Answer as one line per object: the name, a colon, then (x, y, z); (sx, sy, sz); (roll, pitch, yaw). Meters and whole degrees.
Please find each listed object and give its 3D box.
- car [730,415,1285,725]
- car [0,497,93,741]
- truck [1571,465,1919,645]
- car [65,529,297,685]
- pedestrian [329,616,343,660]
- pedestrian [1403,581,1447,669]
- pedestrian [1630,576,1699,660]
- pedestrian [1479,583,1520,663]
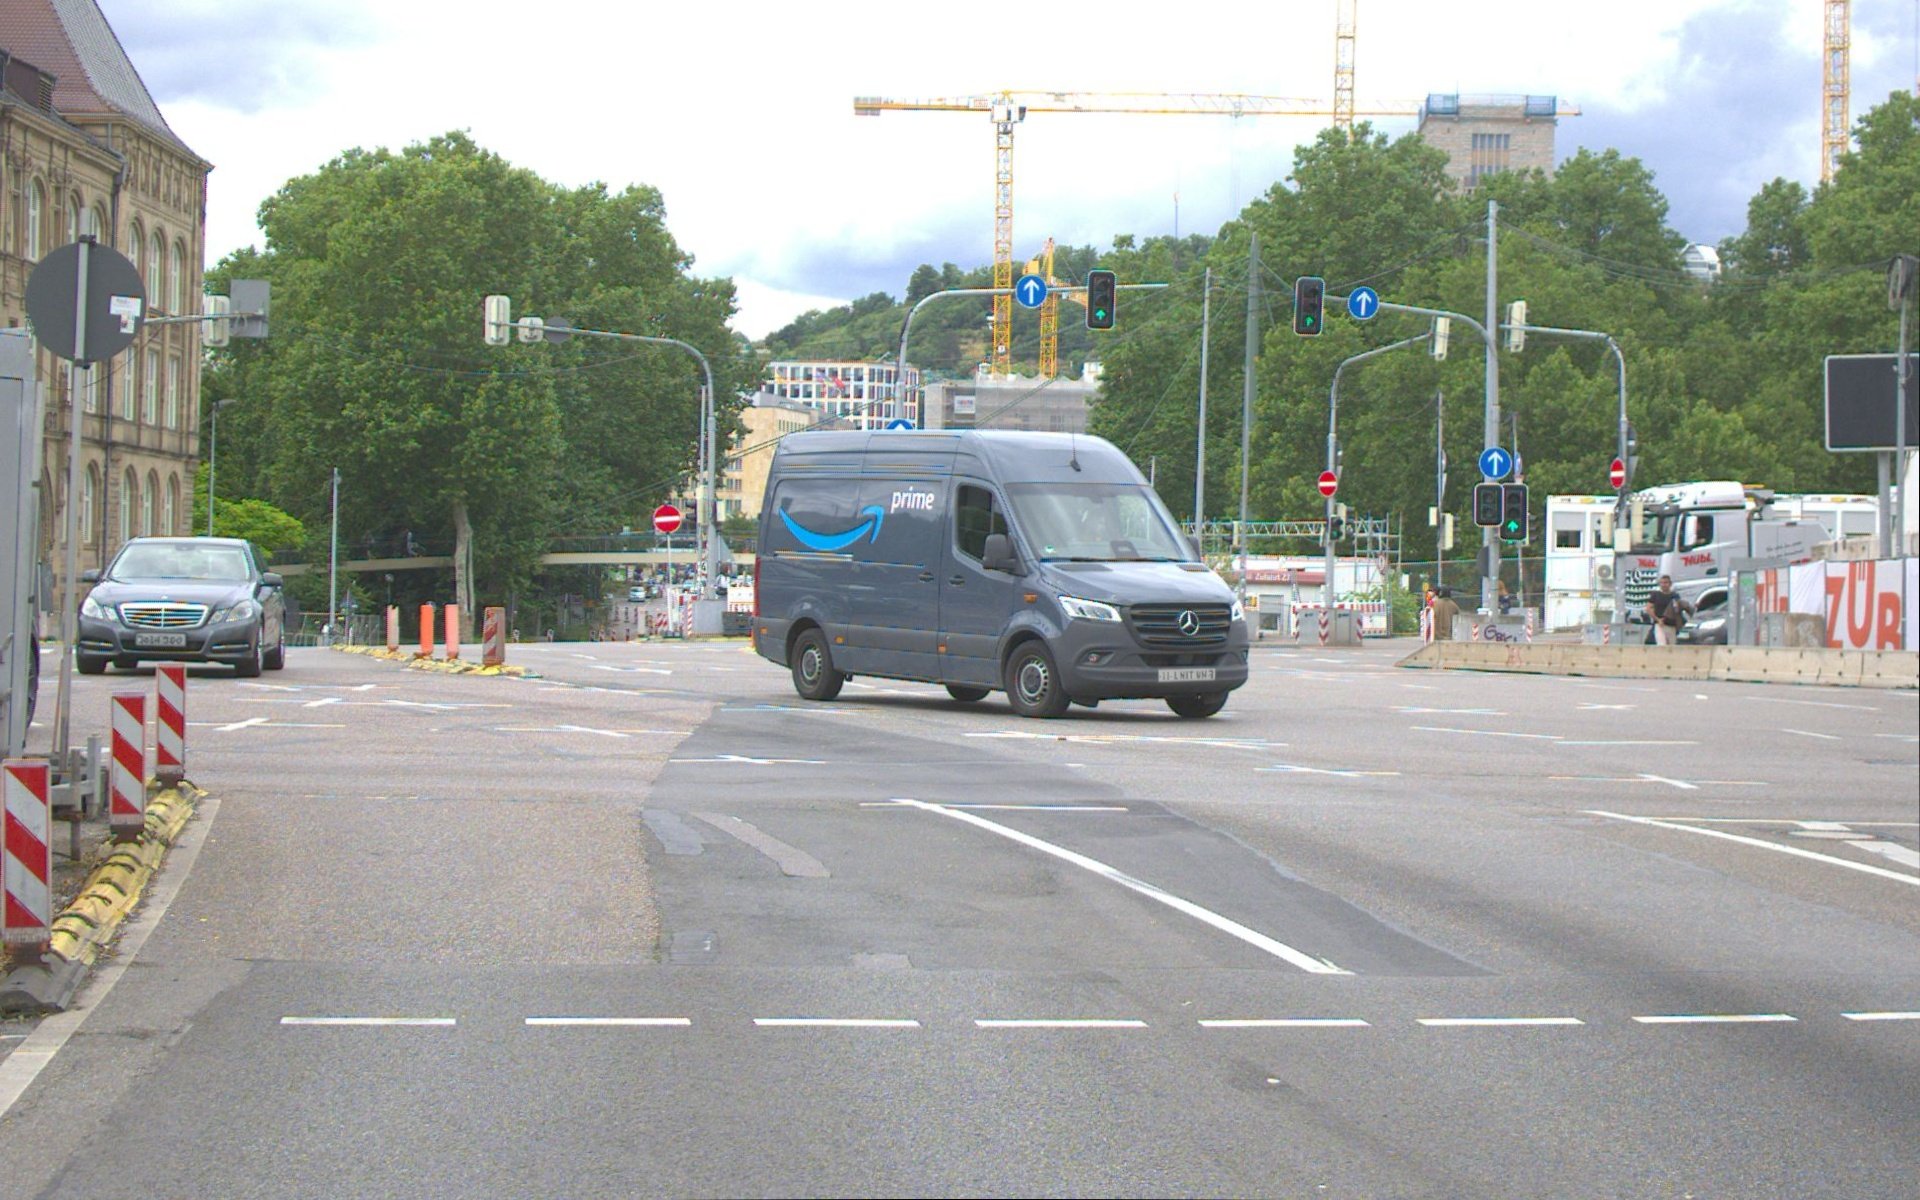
car: (0.276, -0.327, 31.666); (2.057, 2.585, 6.014); (1, 1, -33)
car: (-7.627, 0.117, 22.731); (1.879, 1.664, 4.442); (2, 1, 12)
truck: (21.349, -1.011, 81.998); (13.022, 4.027, 3.952); (1, 1, -20)
car: (-8.117, 0.033, 36.159); (1.706, 1.508, 4.289); (1, 1, -4)
pedestrian: (-28.793, 1.753, 158.564); (0.524, 2.007, 0.567); (1, 1, 0)
pedestrian: (9.121, 0.488, 67.487); (0.729, 1.683, 0.678); (1, 1, -1)
pedestrian: (11.804, 0.295, 57.643); (0.796, 1.373, 0.905); (1, 1, -12)
pedestrian: (11.491, 0.482, 73.242); (0.622, 1.683, 0.710); (2, 1, 29)
